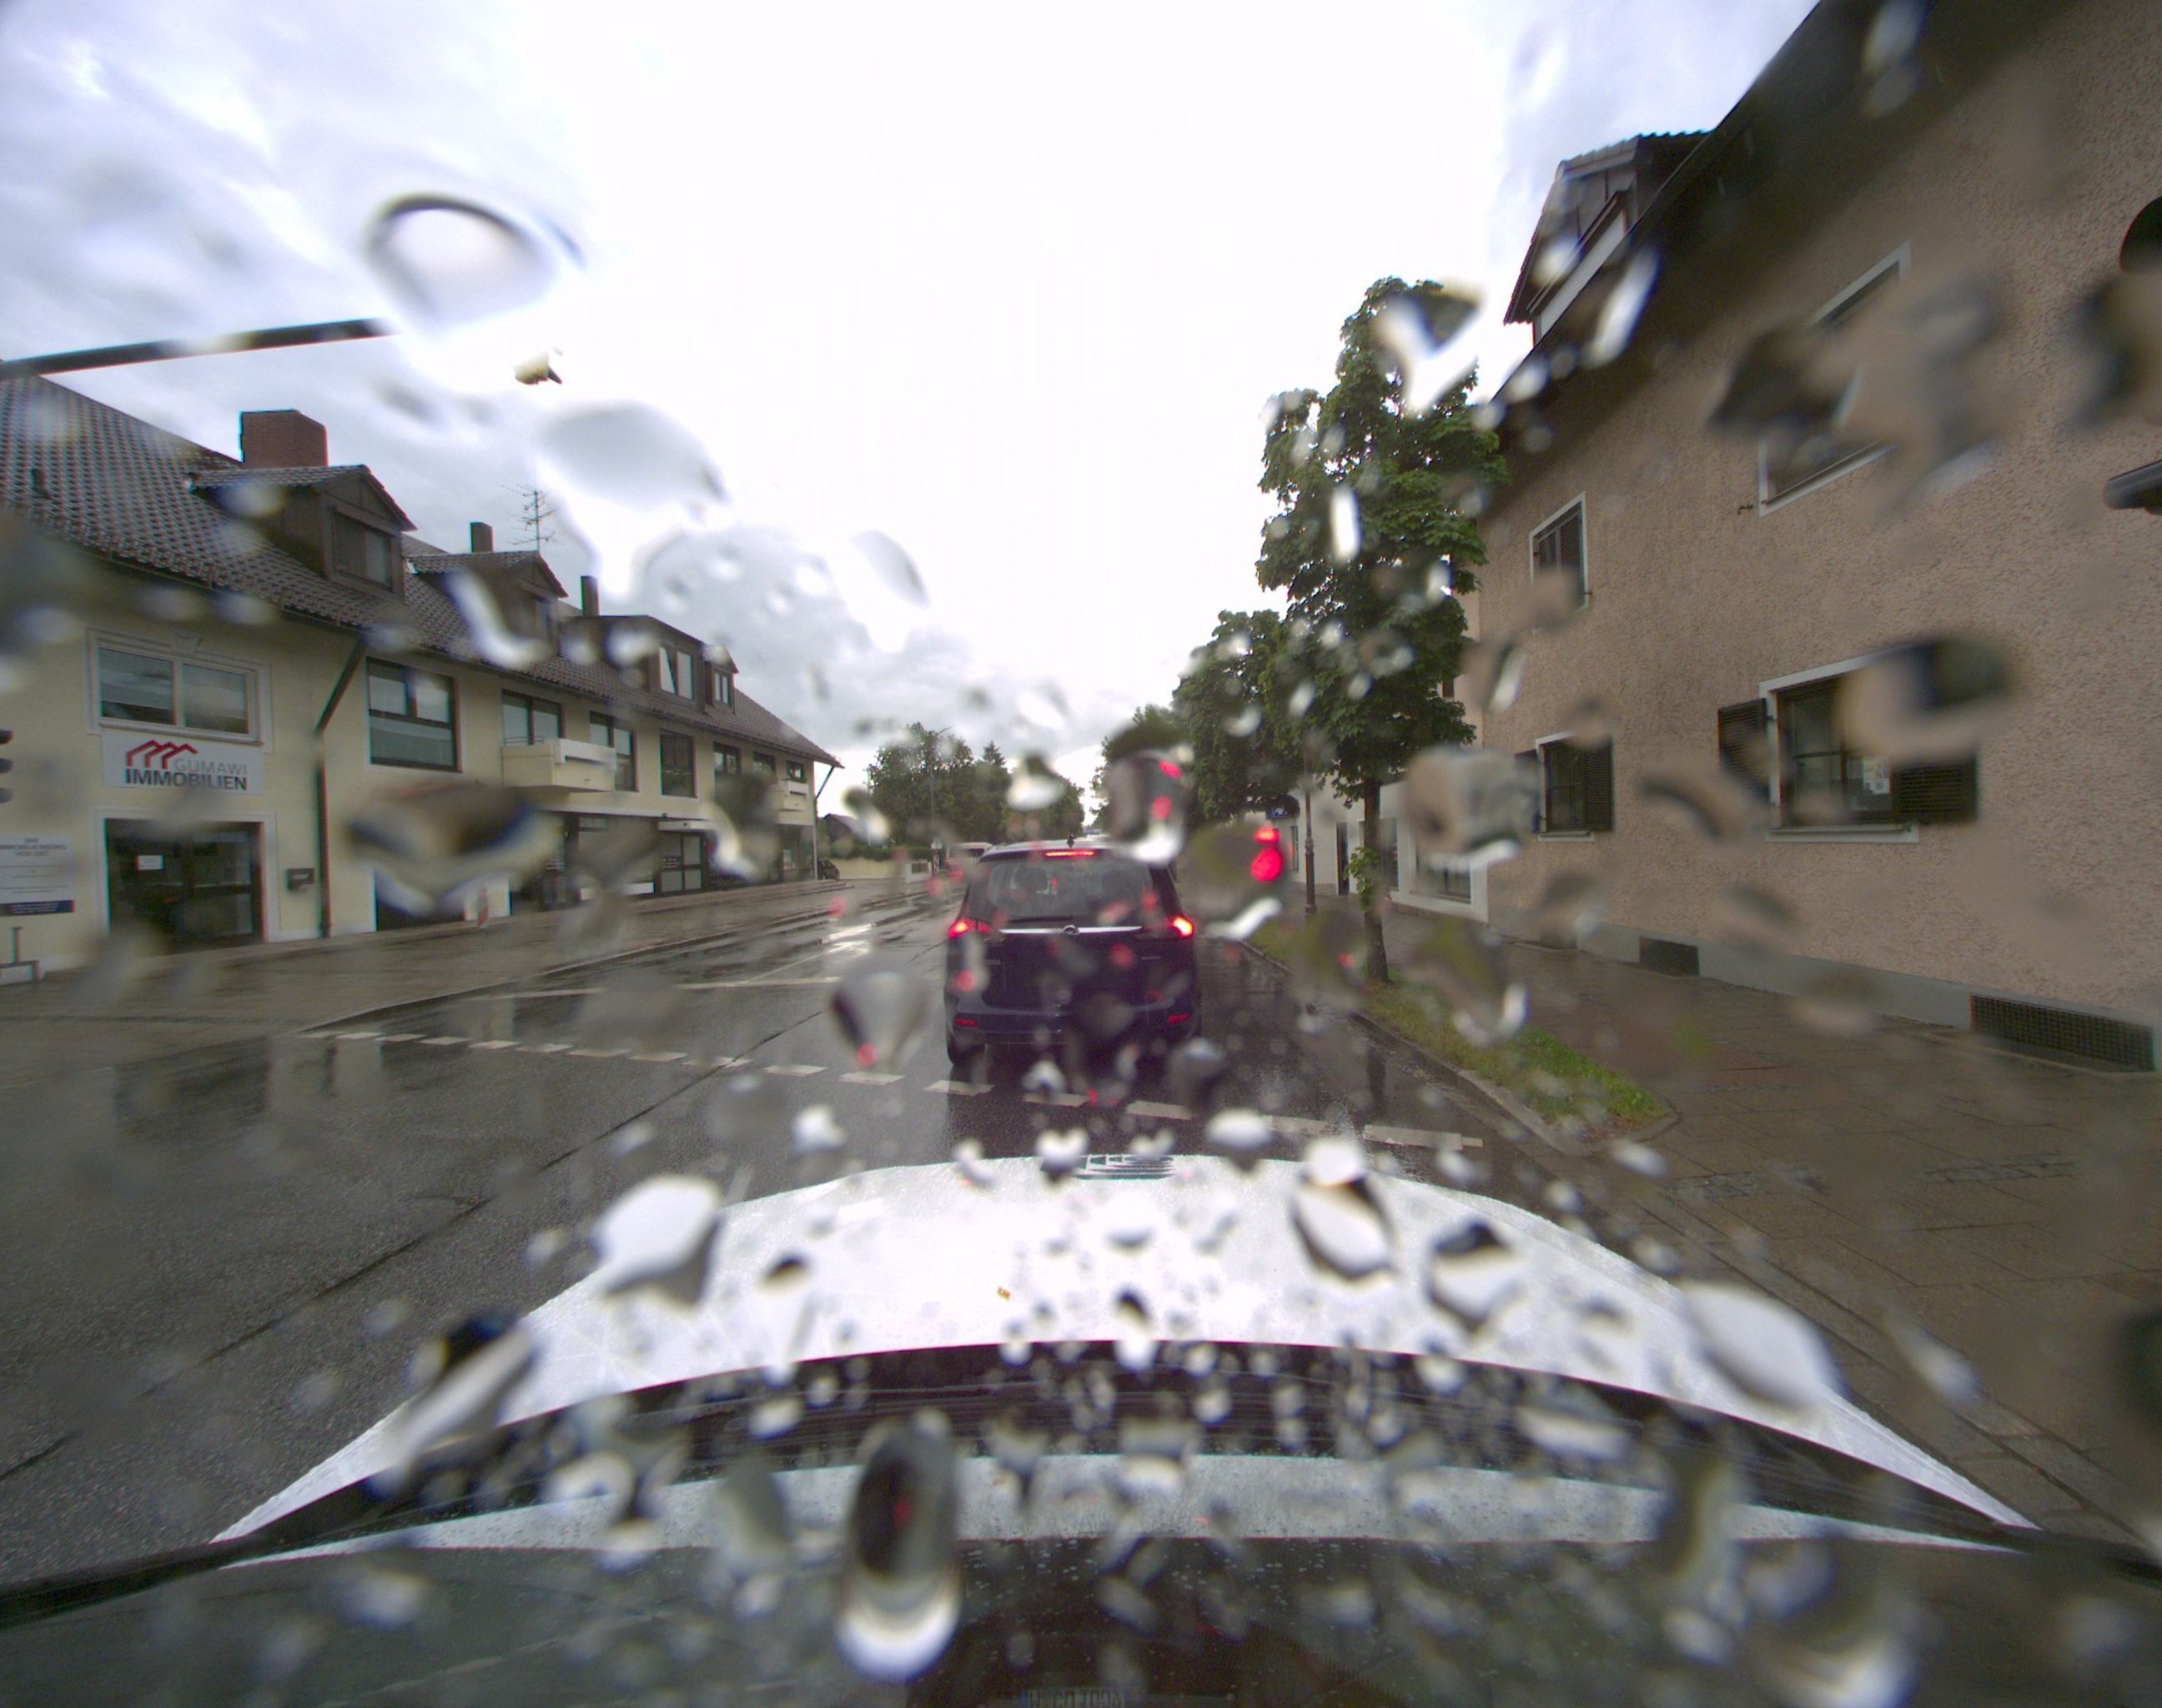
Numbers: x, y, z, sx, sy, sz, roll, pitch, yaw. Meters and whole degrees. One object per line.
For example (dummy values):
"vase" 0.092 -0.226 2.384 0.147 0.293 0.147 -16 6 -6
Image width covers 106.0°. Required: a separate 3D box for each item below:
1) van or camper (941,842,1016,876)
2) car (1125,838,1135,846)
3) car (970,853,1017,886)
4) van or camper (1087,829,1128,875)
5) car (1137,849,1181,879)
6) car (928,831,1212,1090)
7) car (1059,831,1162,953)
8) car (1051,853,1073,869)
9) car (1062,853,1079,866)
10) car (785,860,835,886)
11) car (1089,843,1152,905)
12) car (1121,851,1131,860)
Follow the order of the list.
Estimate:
"van or camper" -8.827 0.429 70.685 6.238 2.707 2.097 -2 0 -6
"car" 8.544 -2.090 143.046 1.624 1.378 3.624 -3 0 1
"car" -4.529 0.790 42.706 1.909 1.533 3.900 -3 0 1
"van or camper" 1.653 -0.119 51.365 2.351 2.665 5.374 -2 0 2
"car" 4.263 0.521 45.034 2.110 1.581 3.936 0 0 1
"car" -0.013 0.656 6.895 1.762 1.604 3.665 0 0 2
"car" 0.476 0.553 13.410 1.495 1.776 3.113 0 0 2
"car" -1.915 0.712 83.854 1.960 1.562 4.153 -3 0 2
"car" -1.289 0.659 104.297 1.920 1.566 4.127 -2 0 1
"car" -15.921 1.107 48.051 1.600 1.380 3.511 -3 0 2
"car" 1.200 0.567 25.154 1.749 1.706 3.620 -2 0 2
"car" 7.363 0.286 133.862 1.624 1.378 3.624 0 -1 2
